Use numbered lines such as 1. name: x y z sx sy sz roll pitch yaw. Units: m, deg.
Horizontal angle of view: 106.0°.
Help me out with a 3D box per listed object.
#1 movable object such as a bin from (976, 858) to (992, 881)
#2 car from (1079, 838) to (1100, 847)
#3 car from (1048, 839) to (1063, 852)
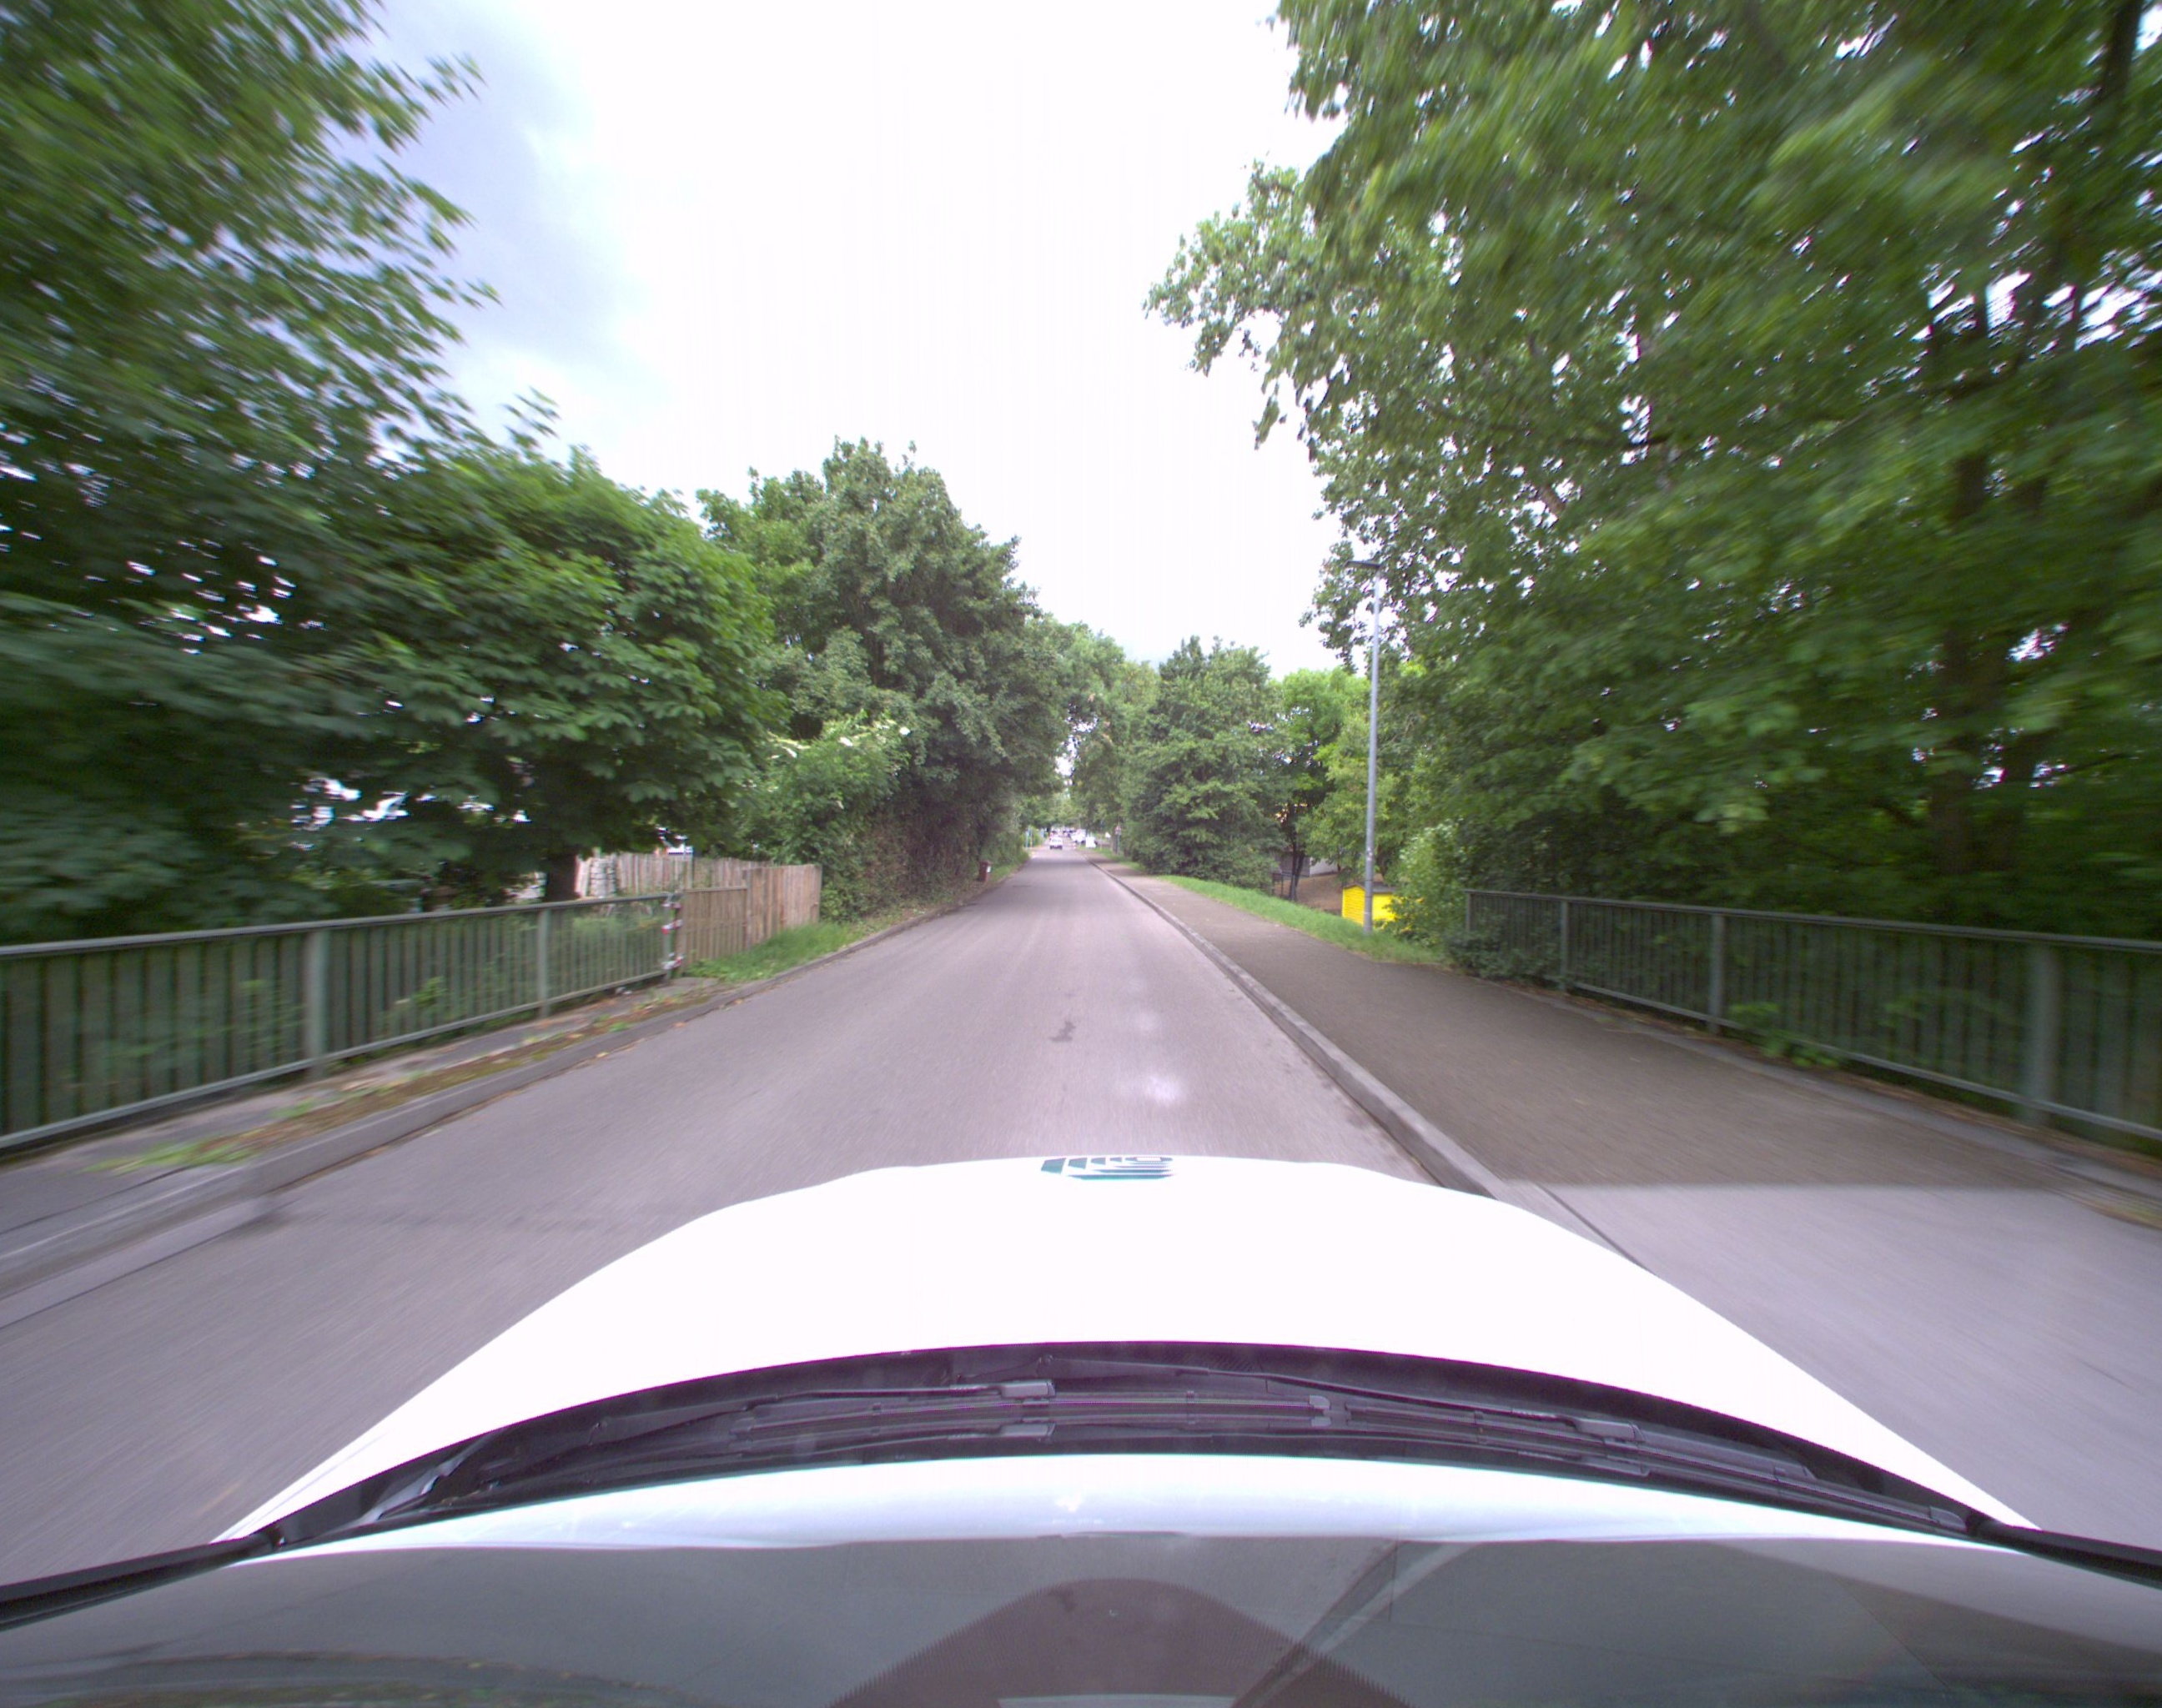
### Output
1. movable object such as a bin: -4.147 0.647 34.748 0.588 0.957 0.470 1 -1 -1
2. car: 1.656 -2.209 157.691 3.975 1.772 1.999 1 0 -1
3. car: -3.824 -1.252 121.879 1.987 1.772 3.999 1 0 0
